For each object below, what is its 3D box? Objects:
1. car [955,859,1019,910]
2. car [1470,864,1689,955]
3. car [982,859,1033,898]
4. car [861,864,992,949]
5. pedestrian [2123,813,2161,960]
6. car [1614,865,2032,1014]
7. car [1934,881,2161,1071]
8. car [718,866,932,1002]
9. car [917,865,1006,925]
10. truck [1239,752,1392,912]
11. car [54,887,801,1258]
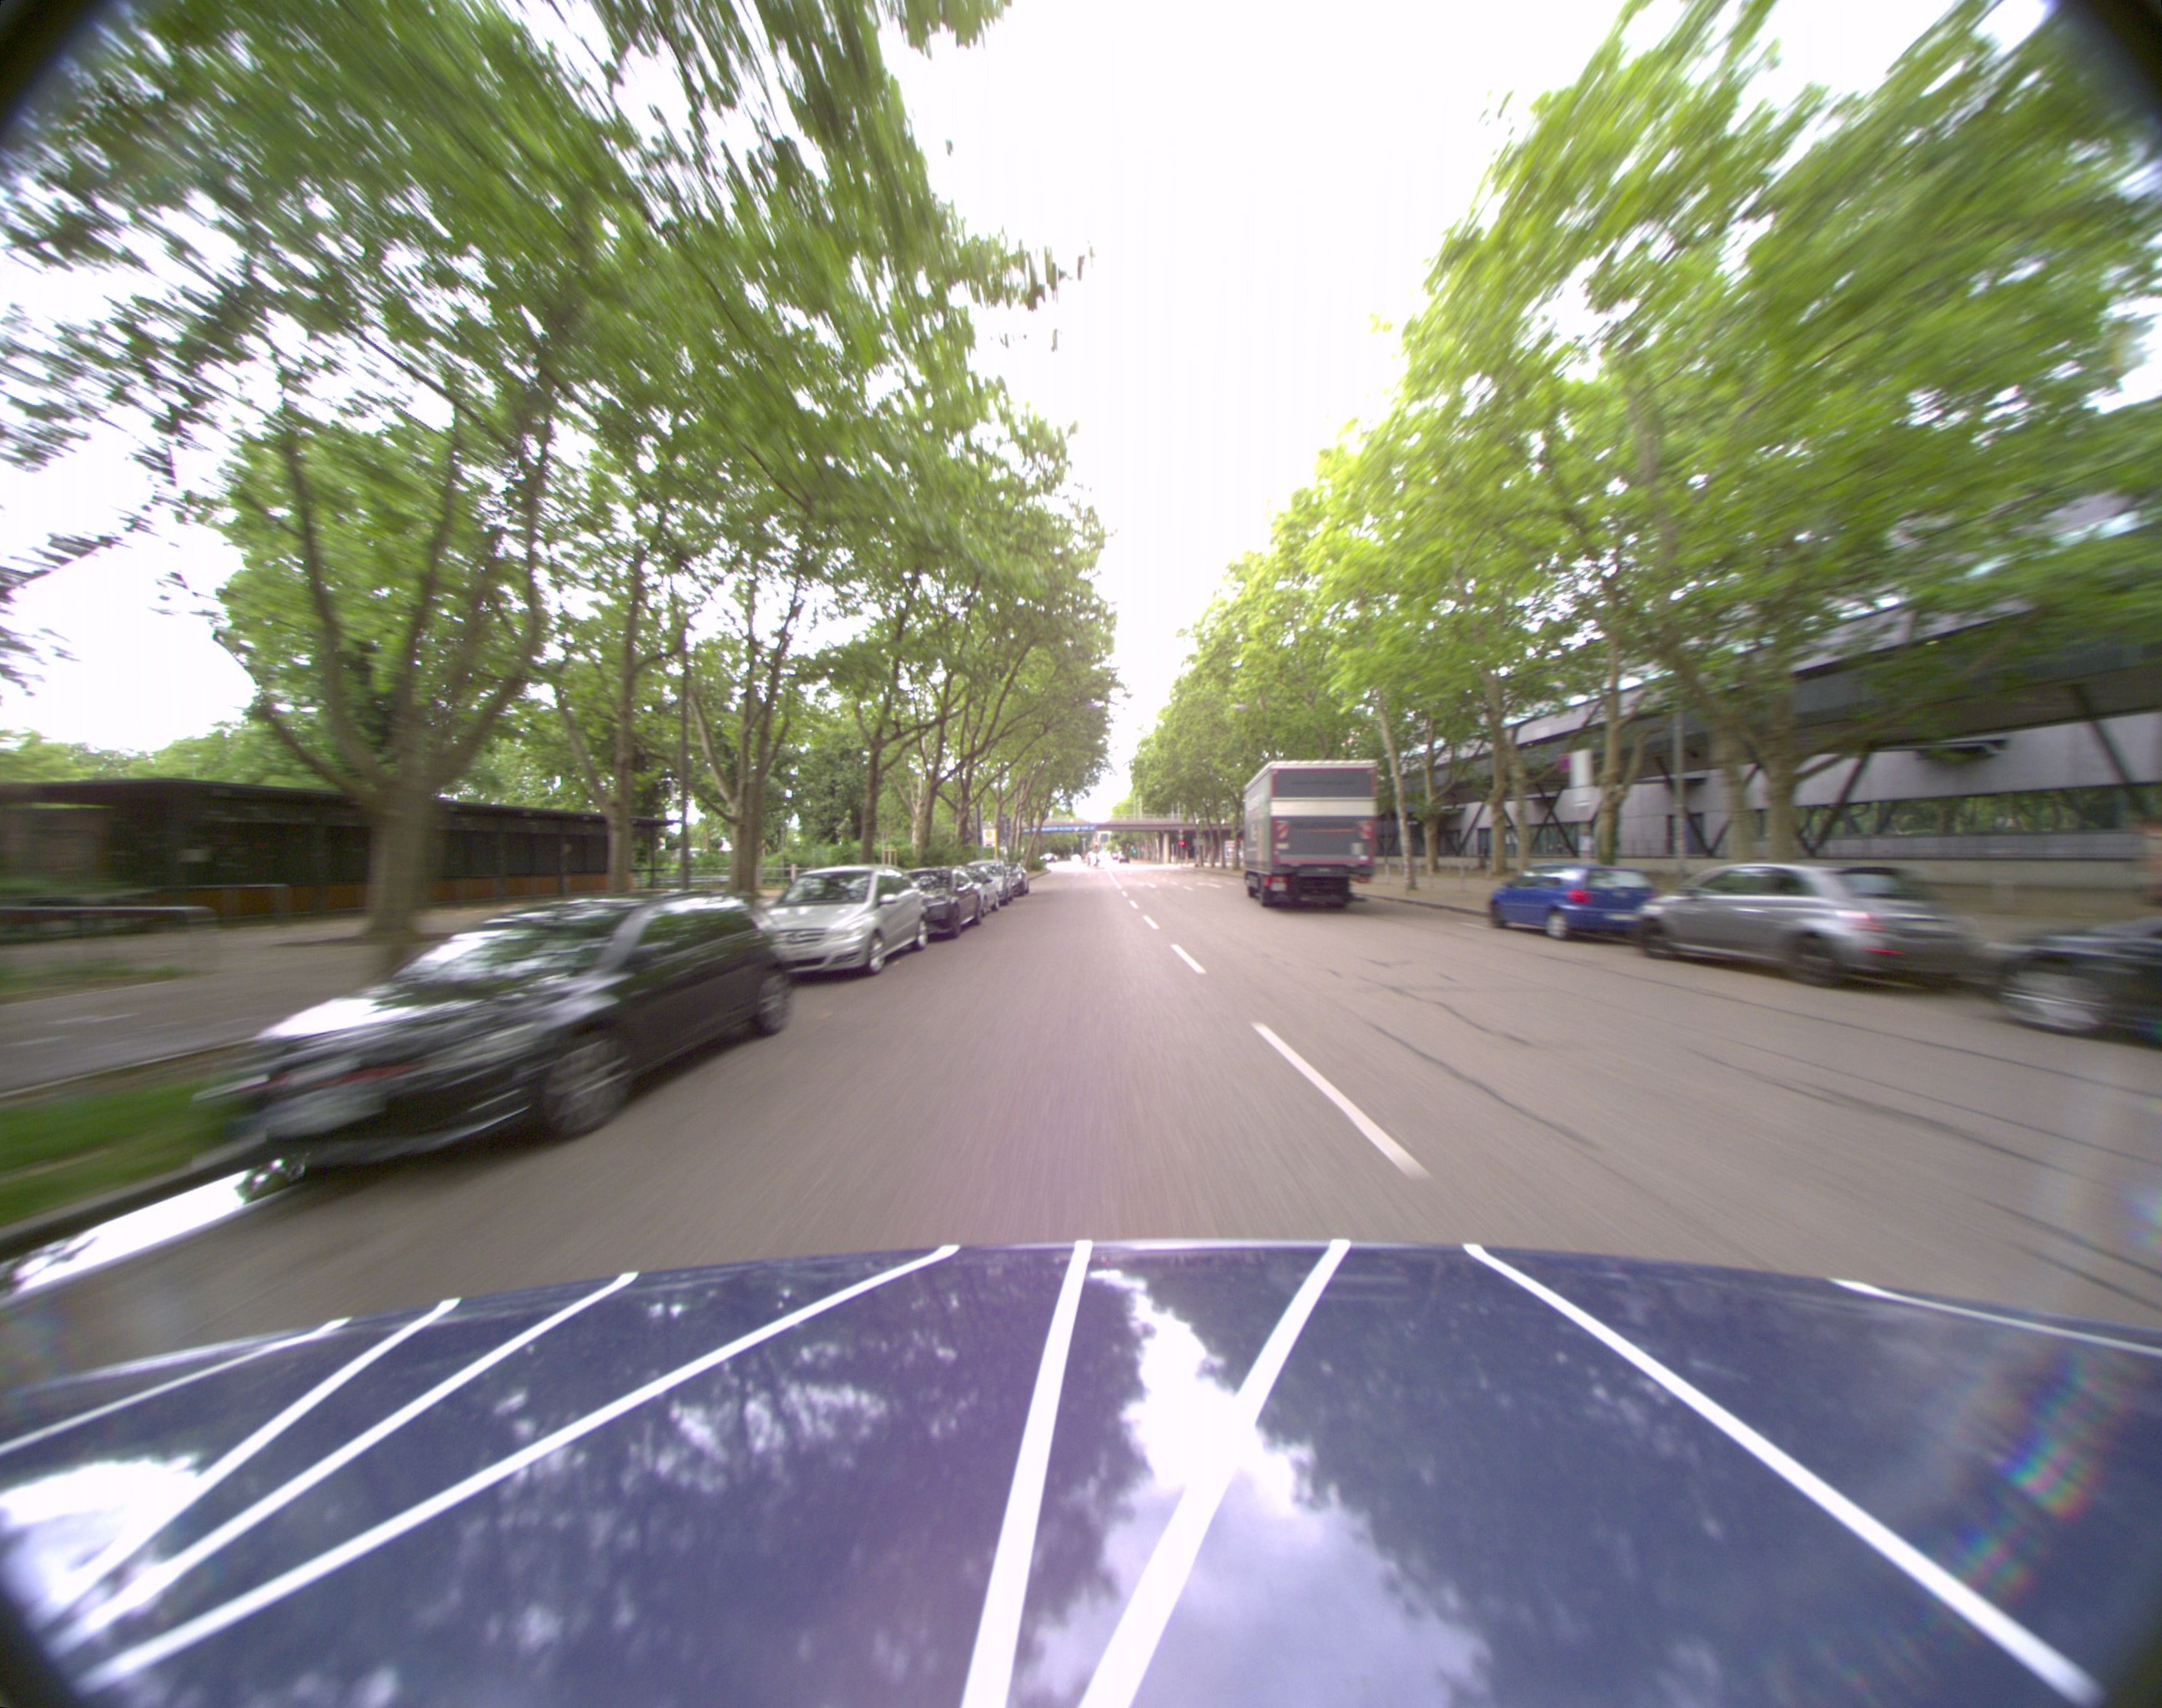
[{"bbox_3d":[-3.298,1.022,27.318,1.734,1.560,4.079,-3,0,0],"label":"car"},{"bbox_3d":[9.334,0.943,14.674,1.698,1.354,4.001,3,0,3],"label":"car"},{"bbox_3d":[-3.140,1.041,33.229,1.734,1.460,4.079,-3,0,0],"label":"car"},{"bbox_3d":[-3.280,1.046,17.195,1.734,1.468,4.982,-3,0,2],"label":"car"},{"bbox_3d":[13.709,0.401,9.398,0.508,1.829,0.826,-1,1,-5],"label":"pedestrian"},{"bbox_3d":[9.227,0.948,9.946,1.699,1.470,3.649,2,0,-4],"label":"car"},{"bbox_3d":[9.005,0.992,5.080,1.712,1.374,4.331,3,0,1],"label":"car"},{"bbox_3d":[-3.770,1.082,12.071,1.783,1.608,4.225,-3,0,2],"label":"car"},{"bbox_3d":[-3.395,1.126,22.334,1.734,1.413,4.080,-3,0,2],"label":"car"},{"bbox_3d":[6.677,-0.612,23.255,2.915,3.846,9.471,0,1,8],"label":"truck"},{"bbox_3d":[-3.837,1.125,5.630,1.743,1.462,4.152,-3,0,3],"label":"car"}]
